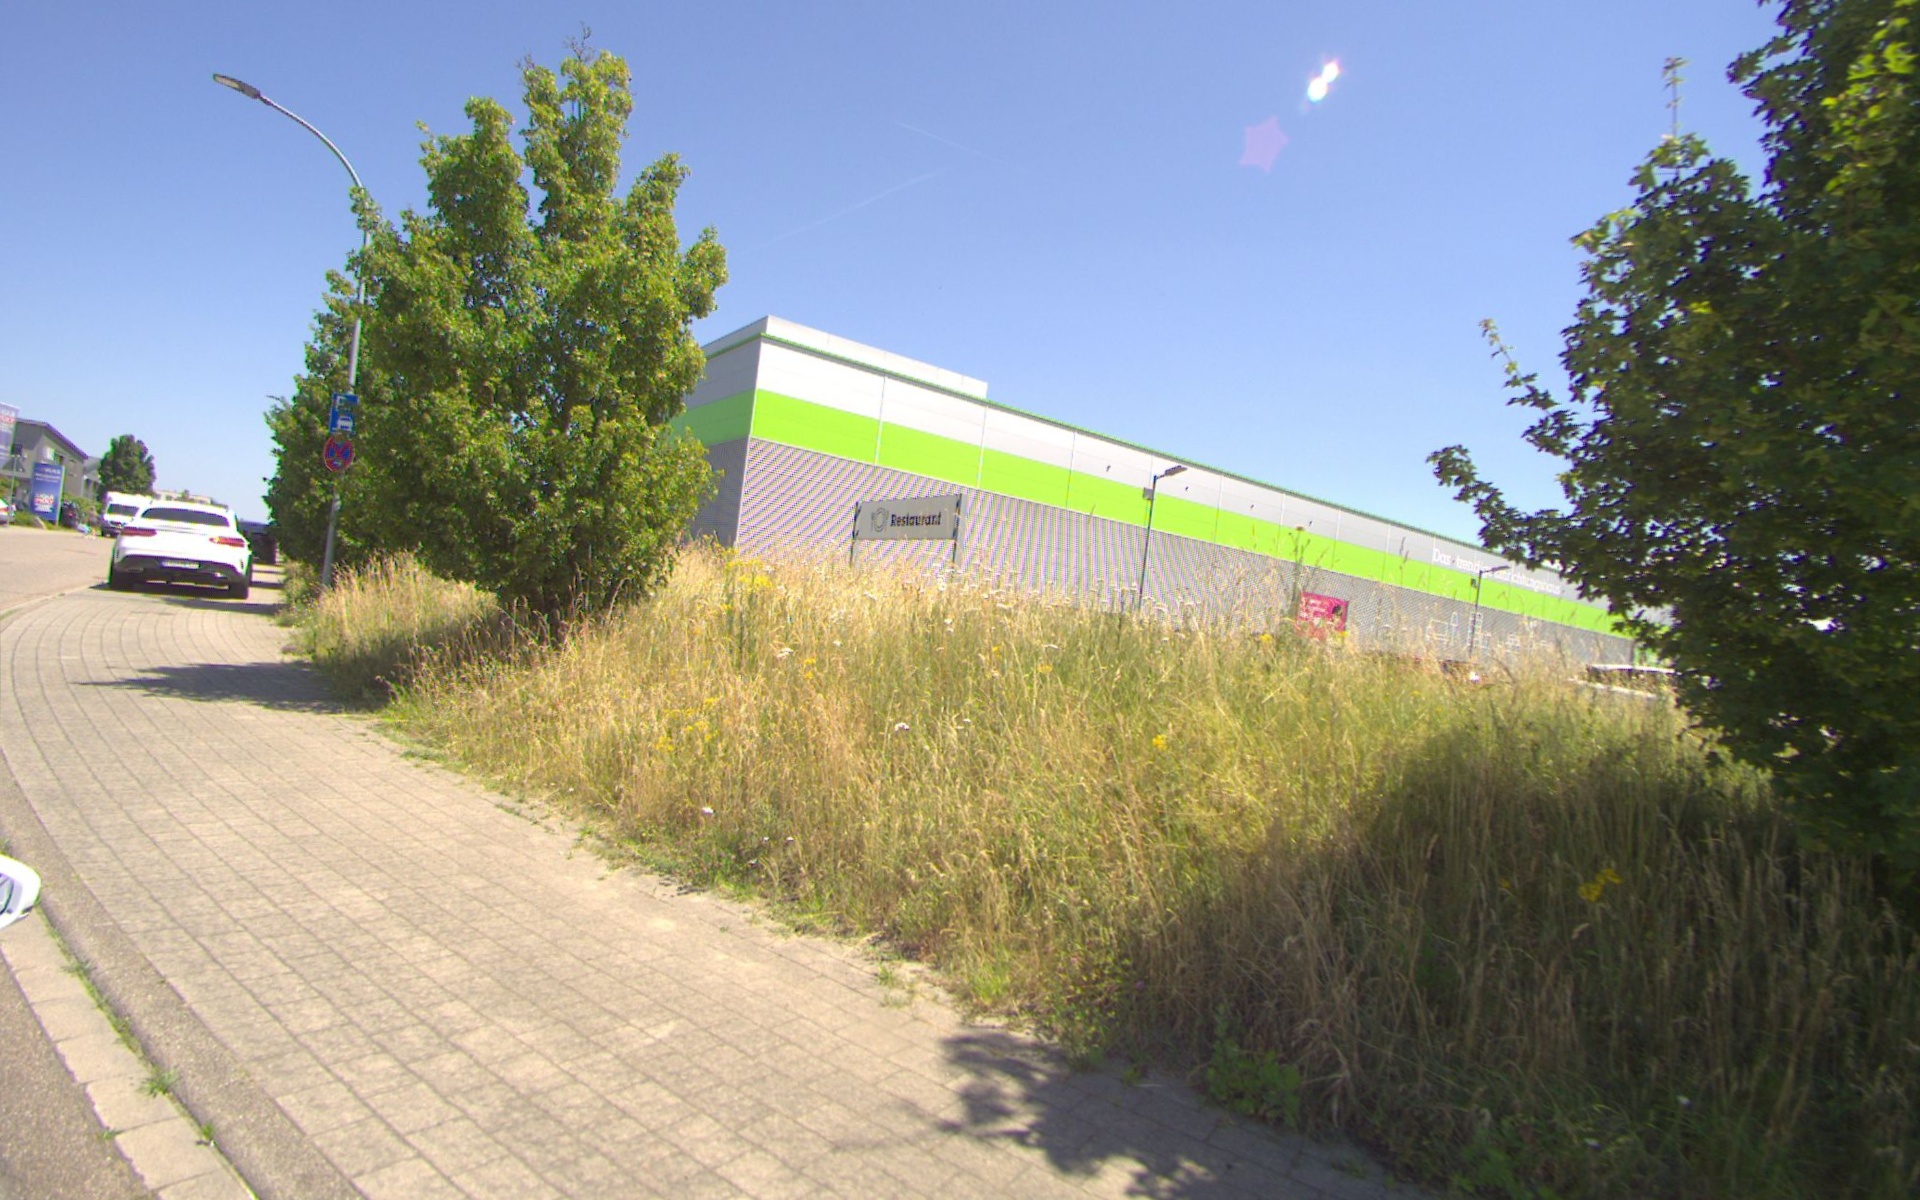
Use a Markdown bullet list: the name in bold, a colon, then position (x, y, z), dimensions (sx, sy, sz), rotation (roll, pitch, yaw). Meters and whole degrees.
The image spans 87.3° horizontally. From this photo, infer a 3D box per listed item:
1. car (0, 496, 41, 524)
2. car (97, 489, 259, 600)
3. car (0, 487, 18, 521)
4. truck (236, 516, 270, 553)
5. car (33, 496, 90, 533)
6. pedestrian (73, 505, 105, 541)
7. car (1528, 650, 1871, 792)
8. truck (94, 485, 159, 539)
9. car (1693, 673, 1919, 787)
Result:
- **car**: position (-61.900, -5.920, 65.733), dimensions (1.922, 1.432, 4.726), rotation (10, -3, -34)
- **car**: position (-15.218, -1.082, 19.840), dimensions (2.130, 1.720, 4.741), rotation (6, 0, -35)
- **car**: position (-46.992, -4.808, 46.833), dimensions (4.240, 1.536, 1.848), rotation (9, -2, -36)
- **truck**: position (-47.707, -4.401, 67.904), dimensions (1.668, 2.209, 4.350), rotation (5, 0, -35)
- **car**: position (-59.204, -5.603, 66.399), dimensions (1.982, 1.979, 5.171), rotation (8, -2, -35)
- **pedestrian**: position (-41.979, -3.702, 48.489), dimensions (0.894, 1.592, 0.778), rotation (10, -2, -34)
- **car**: position (12.738, 2.032, 17.602), dimensions (1.937, 1.807, 4.359), rotation (7, -2, -36)
- **truck**: position (-52.817, -5.514, 63.885), dimensions (2.345, 2.895, 6.358), rotation (5, 0, -34)
- **car**: position (18.971, 2.816, 21.881), dimensions (1.982, 1.889, 4.361), rotation (7, -2, -35)
